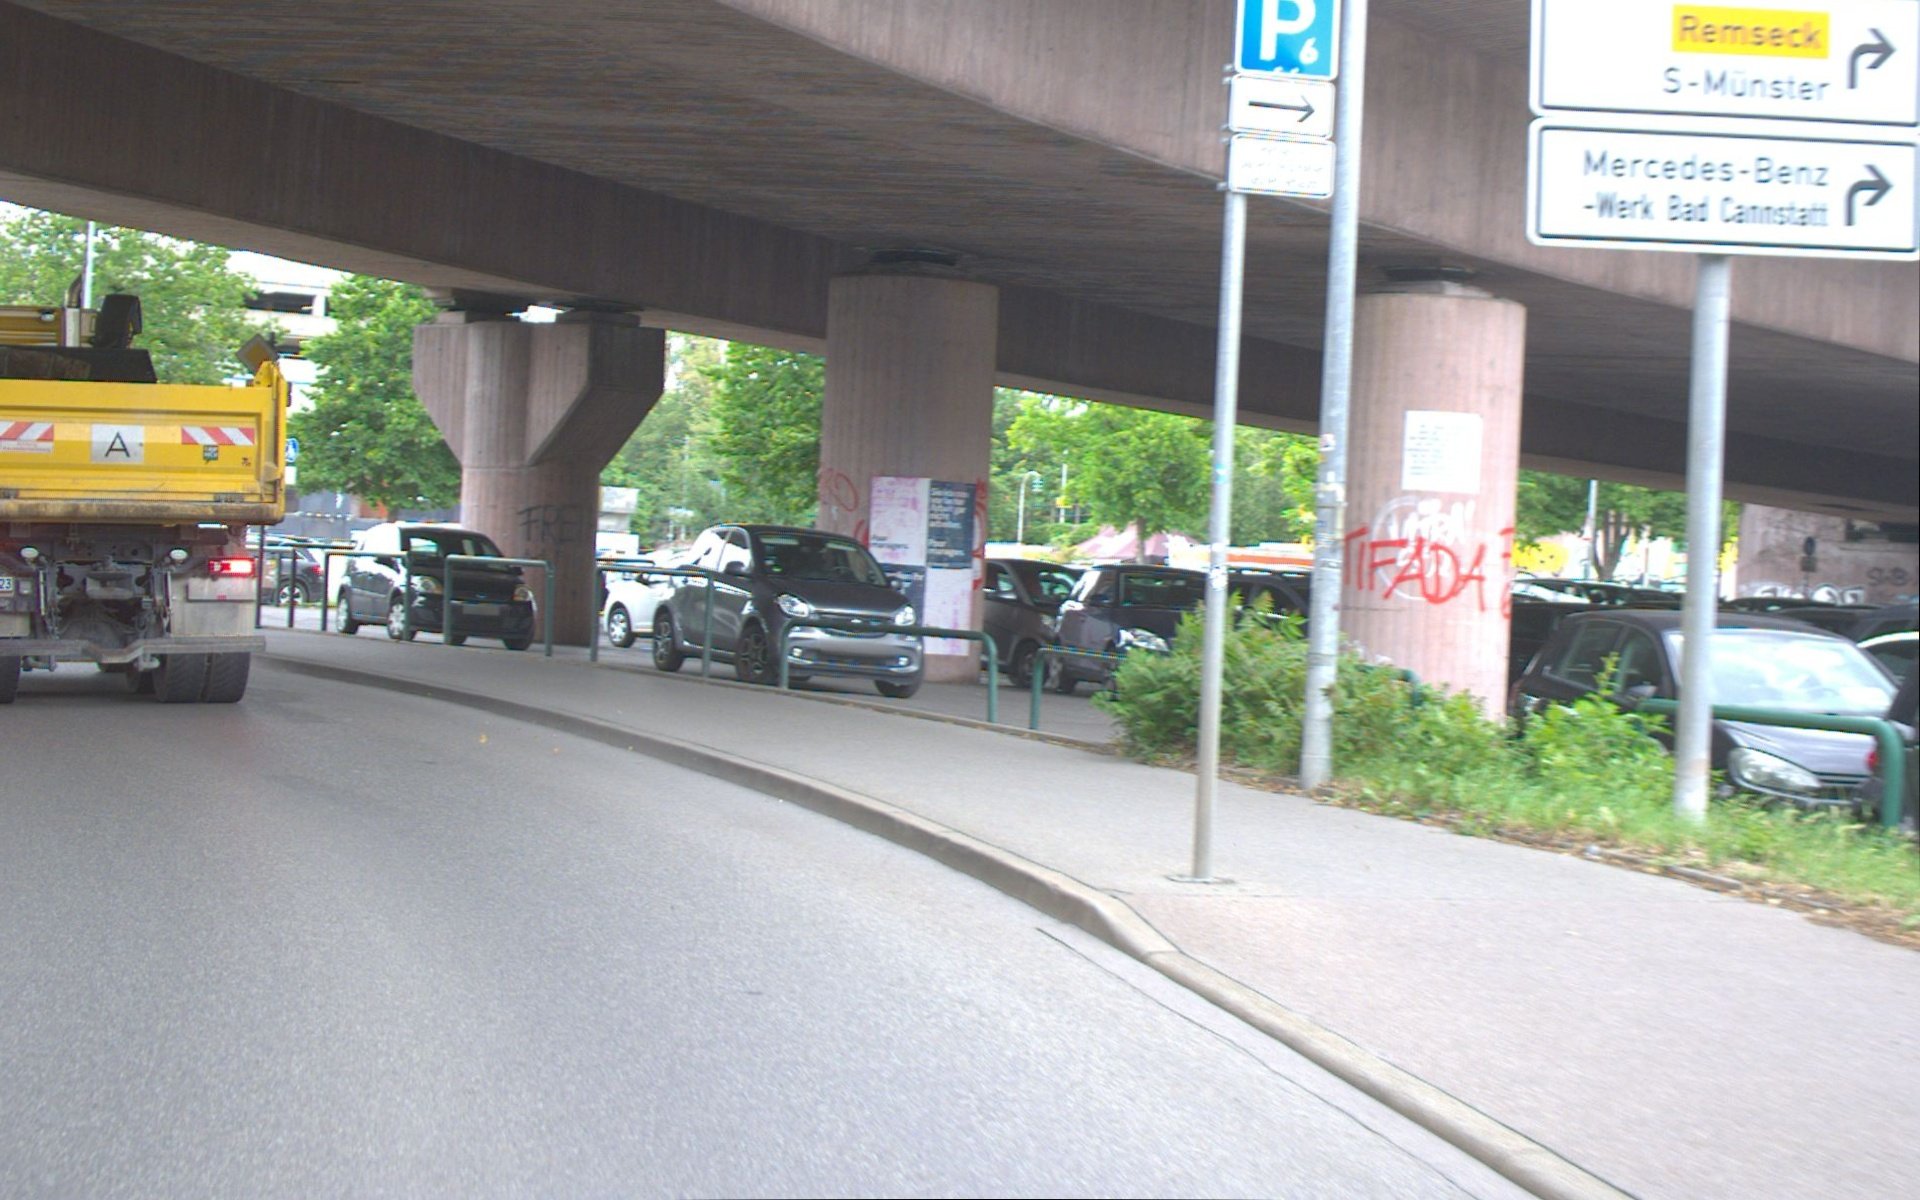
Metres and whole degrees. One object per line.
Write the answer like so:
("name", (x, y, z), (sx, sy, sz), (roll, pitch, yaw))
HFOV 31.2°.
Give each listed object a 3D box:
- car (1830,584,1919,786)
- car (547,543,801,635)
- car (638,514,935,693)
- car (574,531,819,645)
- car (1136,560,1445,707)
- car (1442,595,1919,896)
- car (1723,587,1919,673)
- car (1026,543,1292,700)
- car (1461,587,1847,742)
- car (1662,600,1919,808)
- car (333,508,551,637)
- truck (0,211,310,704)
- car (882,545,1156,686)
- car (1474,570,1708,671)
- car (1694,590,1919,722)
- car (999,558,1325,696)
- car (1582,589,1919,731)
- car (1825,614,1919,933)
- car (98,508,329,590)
("car", (9.135, 0.761, 27.038), (1.832, 1.587, 4.192), (2, 1, -35))
("car", (-5.005, -0.188, 60.420), (4.235, 1.415, 1.510), (2, 2, -37))
("car", (-1.731, 0.002, 33.292), (1.605, 1.528, 3.411), (4, 0, -25))
("car", (-3.997, -0.193, 51.651), (1.634, 1.546, 4.010), (2, 1, -39))
("car", (4.240, 0.416, 44.571), (1.832, 1.692, 3.862), (2, 1, -35))
("car", (4.415, 0.782, 20.252), (1.729, 1.474, 4.251), (2, 1, -12))
("car", (16.955, 0.580, 66.660), (1.753, 1.473, 3.860), (2, 1, -42))
("car", (2.081, 0.231, 37.062), (1.785, 1.501, 3.860), (4, -1, -13))
("car", (7.953, 0.718, 39.722), (1.832, 1.545, 4.192), (2, 1, -35))
("car", (7.482, 0.807, 25.717), (1.832, 1.416, 4.192), (2, 1, -35))
("car", (-6.393, -0.365, 42.173), (1.605, 1.392, 3.580), (4, 0, -25))
("truck", (-7.907, -1.120, 29.722), (2.757, 3.686, 7.882), (0, 1, -24))
("car", (0.679, 0.168, 41.790), (1.525, 1.495, 3.375), (5, -1, -35))
("car", (11.447, 0.365, 62.498), (1.753, 1.632, 3.860), (2, 1, -42))
("car", (11.392, 0.699, 42.871), (1.832, 1.460, 4.192), (2, 1, -35))
("car", (2.466, 0.309, 43.038), (1.832, 1.465, 4.380), (4, 0, -31))
("car", (9.665, 0.699, 41.250), (1.832, 1.460, 4.192), (2, 1, -35))
("car", (5.370, 0.863, 15.896), (1.539, 1.474, 2.762), (2, 1, -12))
("car", (-16.055, -1.100, 73.960), (4.533, 1.569, 1.846), (2, 0, -24))
